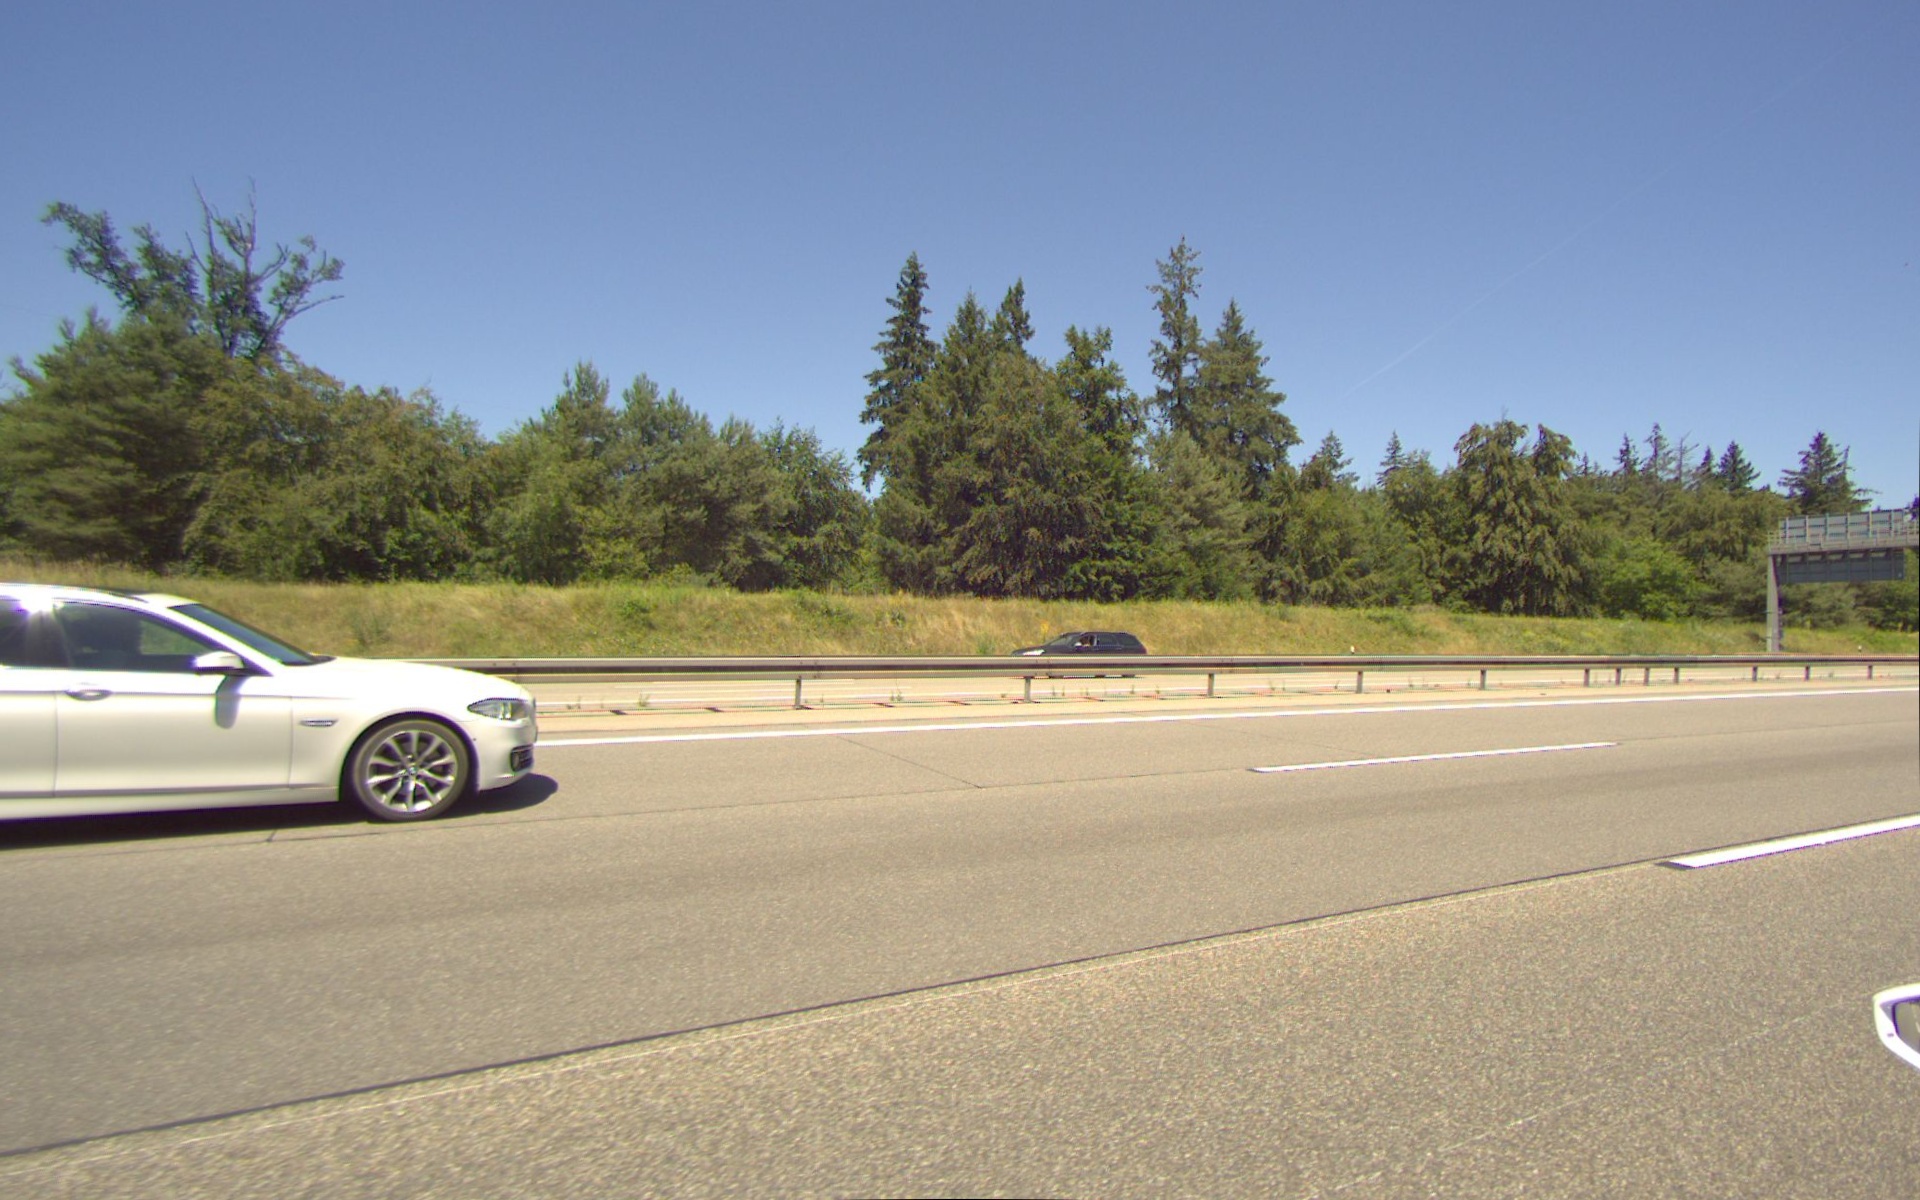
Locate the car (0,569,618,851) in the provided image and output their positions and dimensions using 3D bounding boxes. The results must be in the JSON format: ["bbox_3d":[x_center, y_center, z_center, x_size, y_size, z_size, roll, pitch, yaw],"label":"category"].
[{"bbox_3d":[-5.180,0.605,6.542,5.338,1.523,1.955,2,0,-28],"label":"car"}]

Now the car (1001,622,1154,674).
[{"bbox_3d":[3.767,1.513,31.995,4.686,1.529,1.818,2,-1,-29],"label":"car"}]
